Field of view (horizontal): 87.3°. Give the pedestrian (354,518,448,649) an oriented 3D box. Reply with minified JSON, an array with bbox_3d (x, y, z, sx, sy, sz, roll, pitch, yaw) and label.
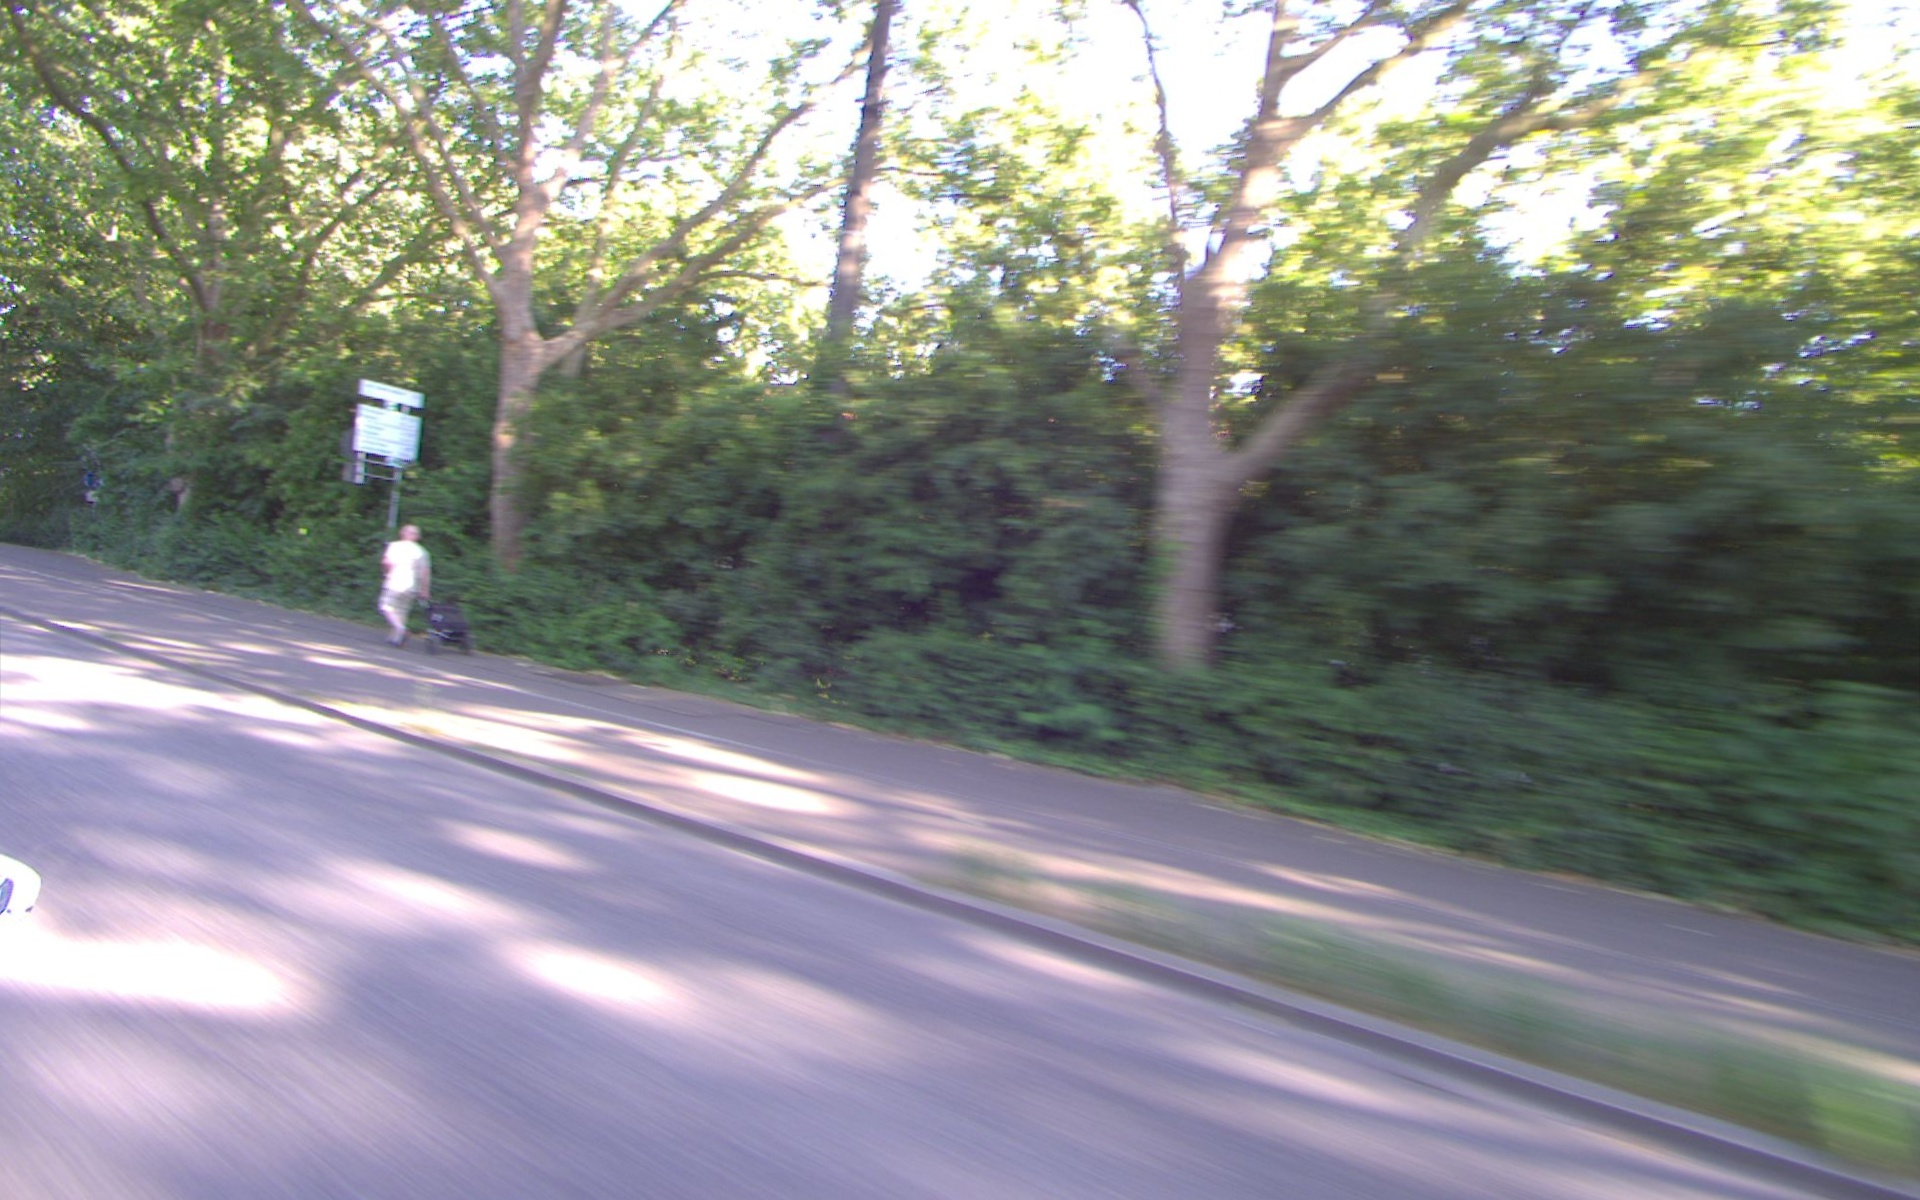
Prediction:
[{"bbox_3d":[-7.576,-0.218,13.638,0.912,1.657,0.648,7,3,32],"label":"pedestrian"}]
